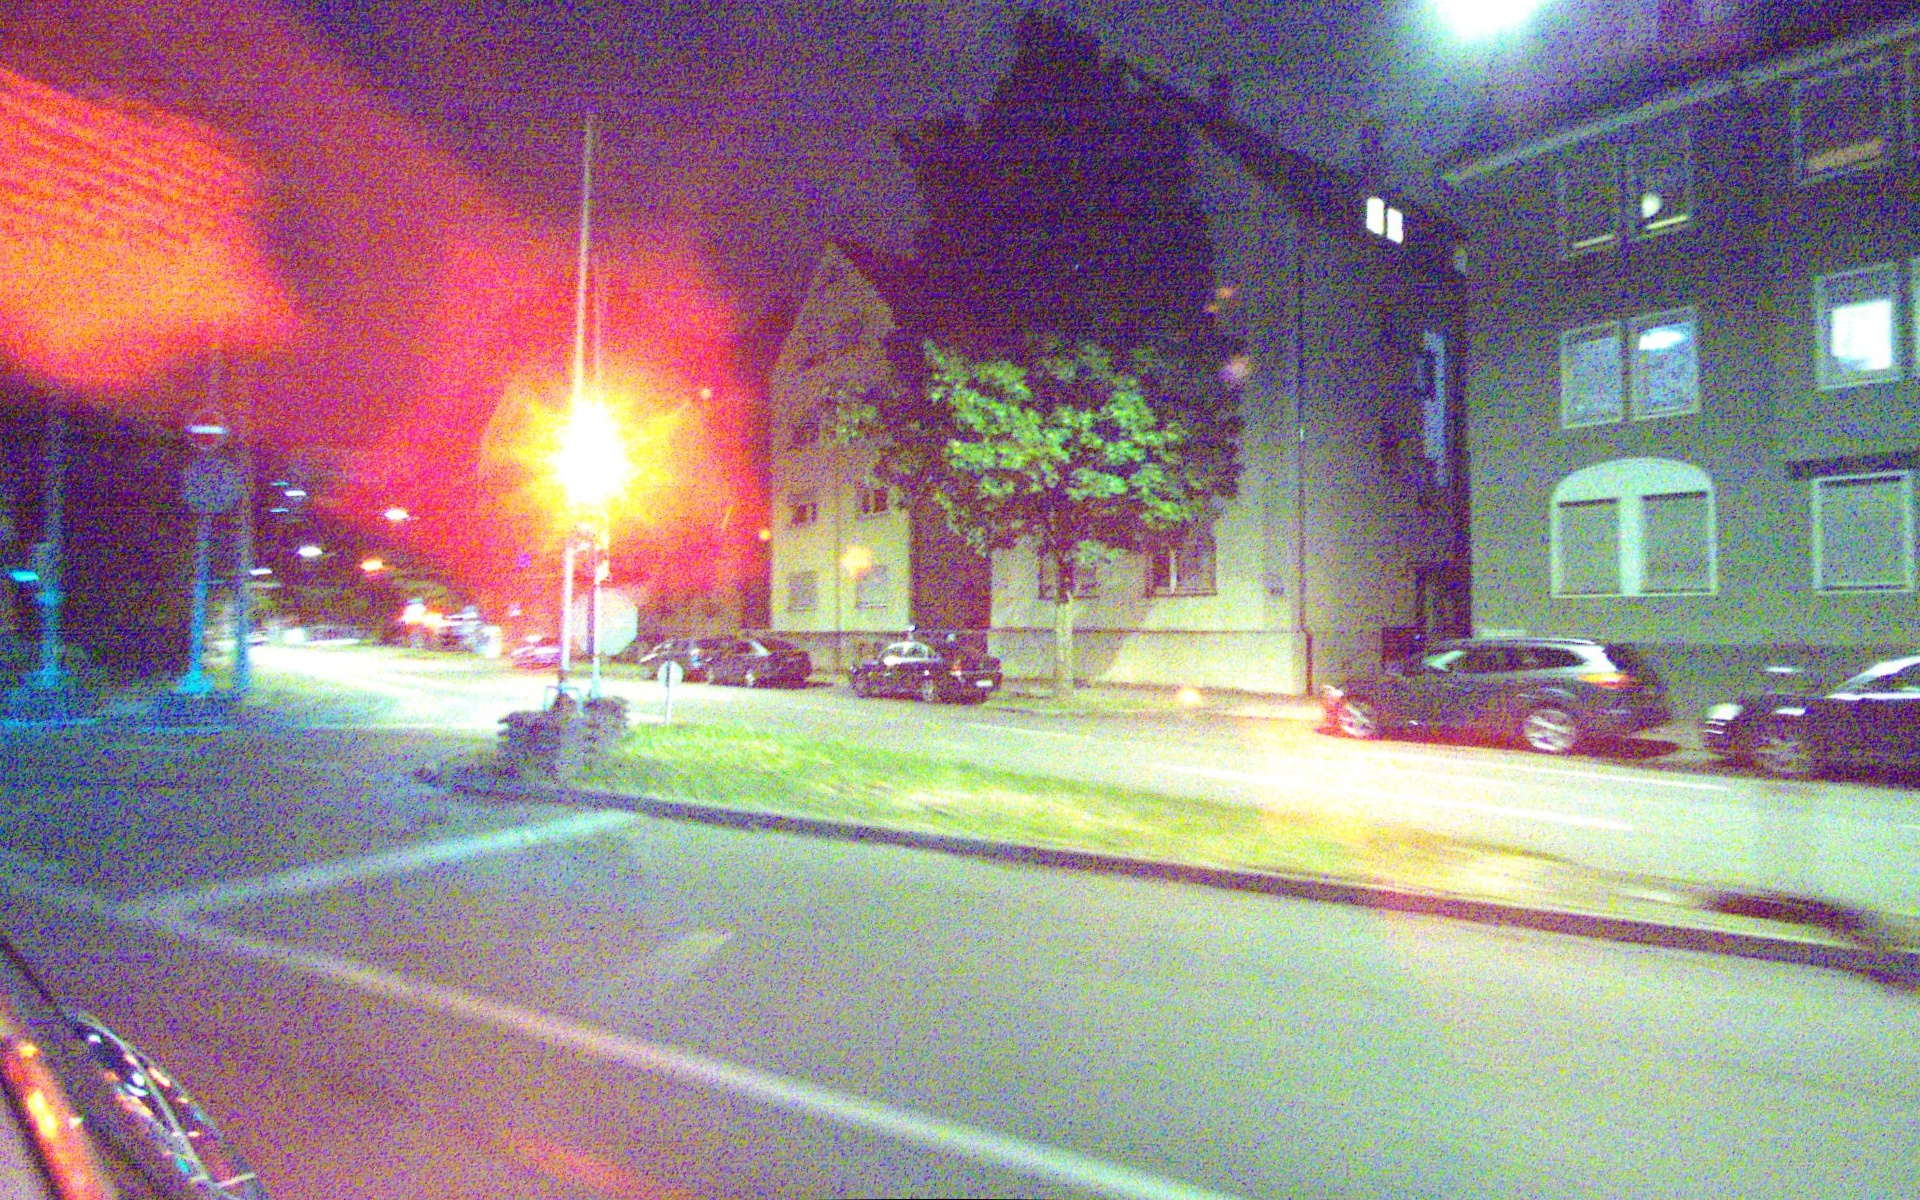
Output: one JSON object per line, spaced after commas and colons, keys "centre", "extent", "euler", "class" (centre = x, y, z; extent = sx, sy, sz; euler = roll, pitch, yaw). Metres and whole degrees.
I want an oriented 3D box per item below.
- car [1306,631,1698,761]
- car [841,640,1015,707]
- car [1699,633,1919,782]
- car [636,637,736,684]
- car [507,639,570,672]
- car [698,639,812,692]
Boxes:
{"centre": [7.413, 1.219, 14.258], "extent": [1.837, 1.490, 4.480], "euler": [0, -2, -39], "class": "car"}
{"centre": [-0.864, 1.710, 24.526], "extent": [1.838, 1.444, 4.409], "euler": [0, -2, -41], "class": "car"}
{"centre": [10.541, 1.079, 10.368], "extent": [1.837, 1.444, 4.451], "euler": [0, -2, -39], "class": "car"}
{"centre": [-9.406, 2.016, 34.497], "extent": [1.617, 1.444, 4.357], "euler": [-1, -1, -39], "class": "car"}
{"centre": [-19.810, 2.599, 47.511], "extent": [1.609, 1.475, 3.518], "euler": [3, -4, -43], "class": "car"}
{"centre": [-6.307, 1.931, 30.798], "extent": [1.532, 1.444, 4.355], "euler": [-1, -1, -39], "class": "car"}
